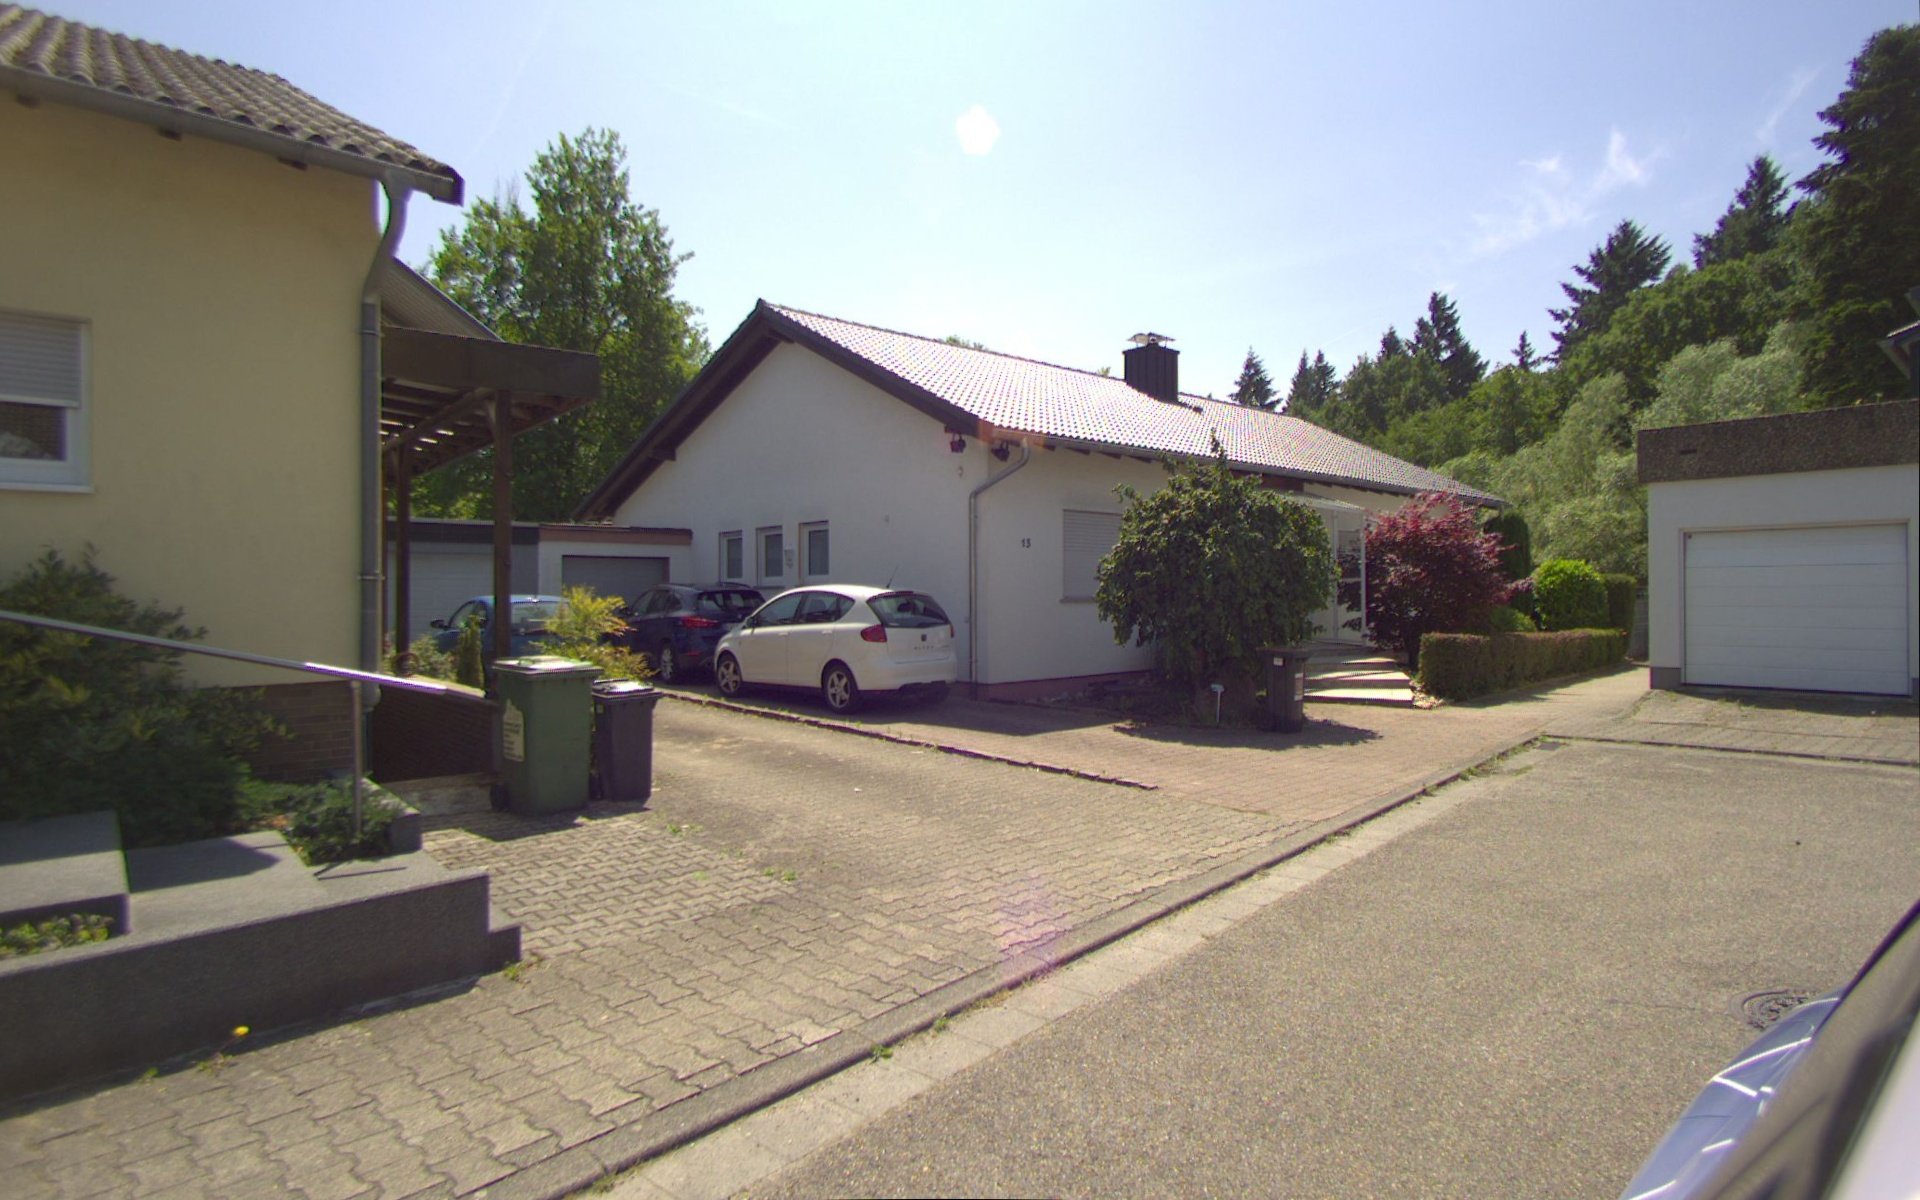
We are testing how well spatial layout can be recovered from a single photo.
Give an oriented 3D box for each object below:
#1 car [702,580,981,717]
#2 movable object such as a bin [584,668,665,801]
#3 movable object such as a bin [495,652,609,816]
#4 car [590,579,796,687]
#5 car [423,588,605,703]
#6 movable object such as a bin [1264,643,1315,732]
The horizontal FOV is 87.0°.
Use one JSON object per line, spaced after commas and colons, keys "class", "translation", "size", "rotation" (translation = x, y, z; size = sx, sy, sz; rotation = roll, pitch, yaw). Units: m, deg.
{"class": "car", "translation": [-1.731, 0.544, 13.807], "size": [1.723, 1.588, 3.989], "rotation": [-1, 1, -44]}
{"class": "movable object such as a bin", "translation": [-2.491, 0.978, 7.518], "size": [0.424, 0.902, 0.401], "rotation": [-1, 0, 42]}
{"class": "movable object such as a bin", "translation": [-2.897, 0.924, 7.193], "size": [0.489, 1.054, 0.584], "rotation": [-1, 0, 41]}
{"class": "car", "translation": [-4.690, 0.461, 17.439], "size": [1.895, 1.628, 3.994], "rotation": [-1, 1, -40]}
{"class": "car", "translation": [-6.708, 0.584, 15.070], "size": [1.592, 1.473, 3.249], "rotation": [0, 1, -41]}
{"class": "movable object such as a bin", "translation": [3.560, 0.935, 10.929], "size": [0.369, 0.902, 0.390], "rotation": [-1, 0, -42]}
